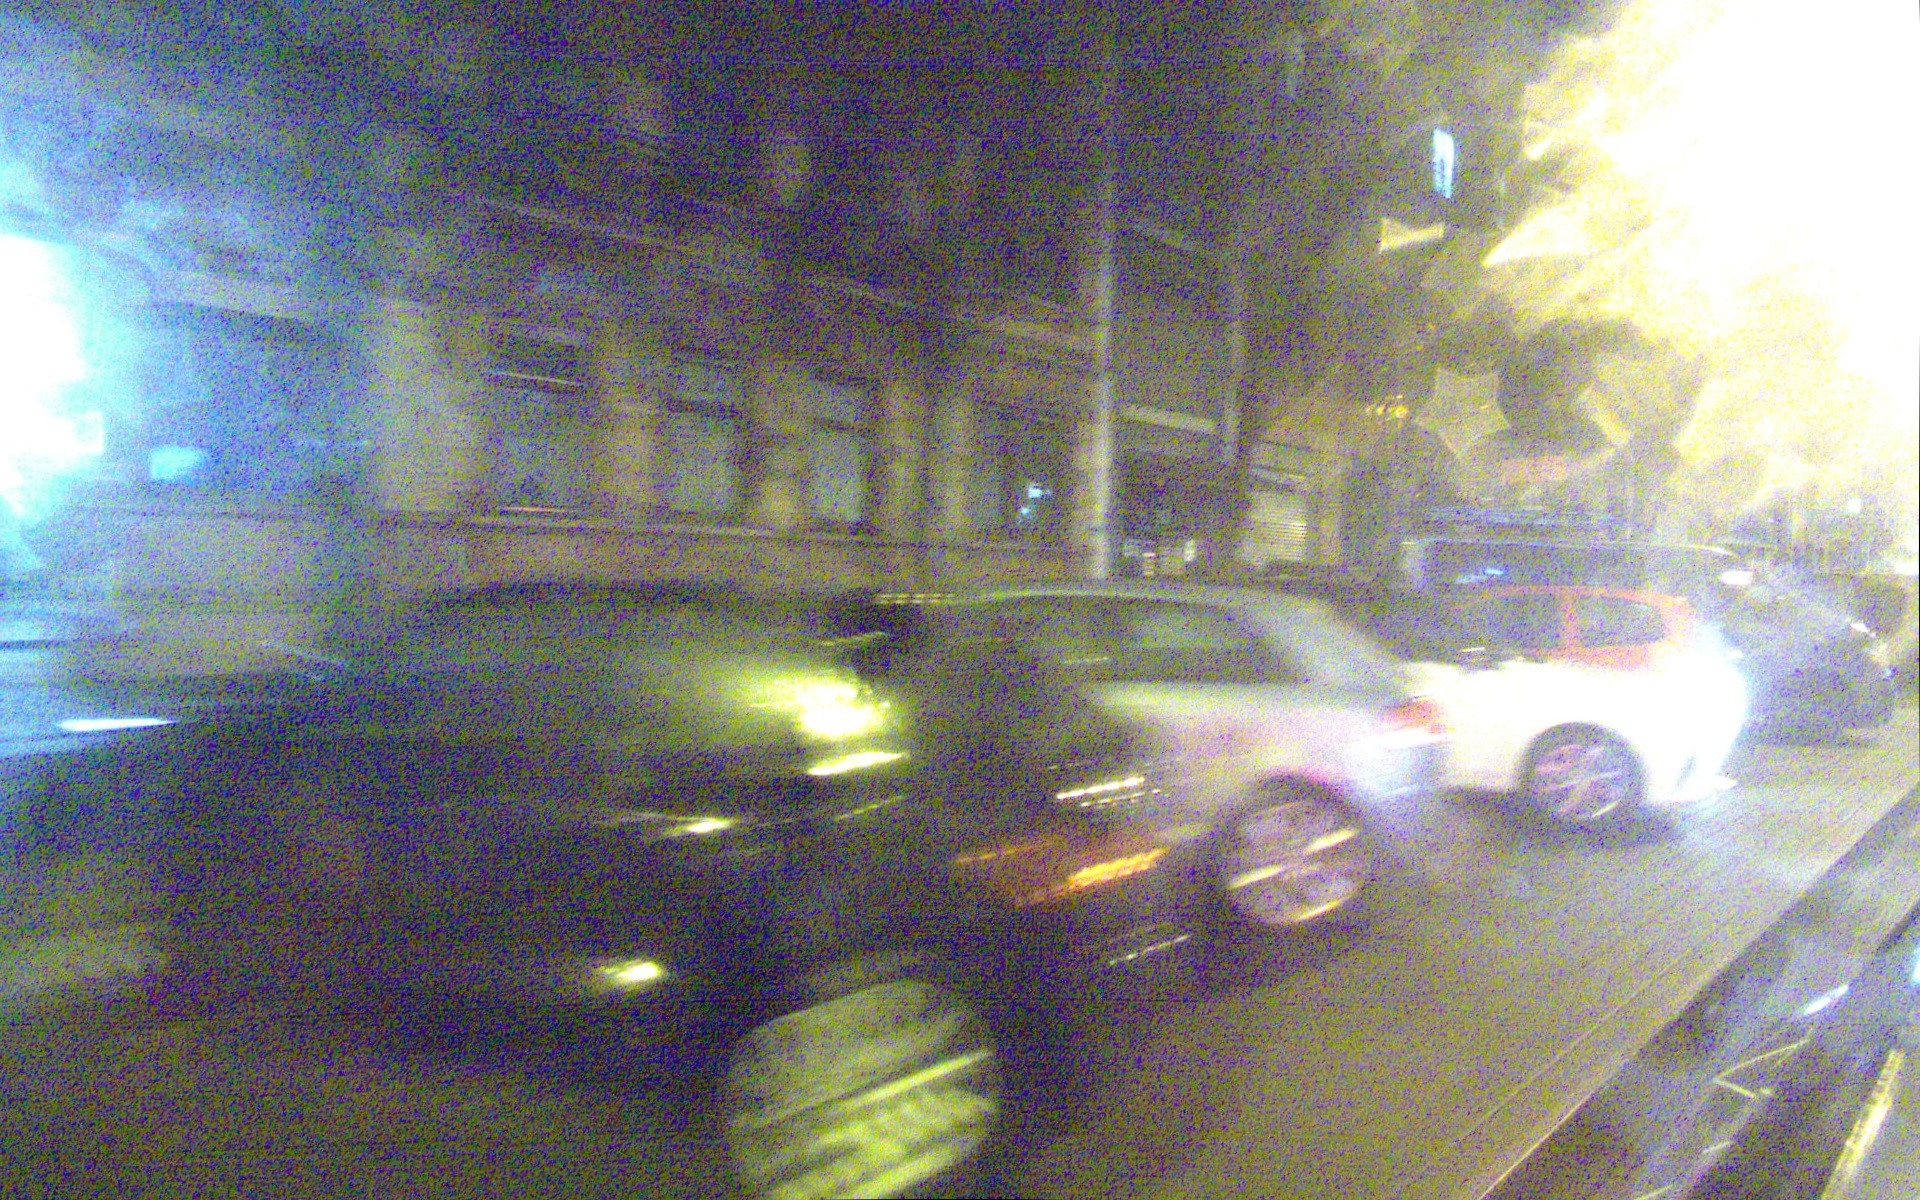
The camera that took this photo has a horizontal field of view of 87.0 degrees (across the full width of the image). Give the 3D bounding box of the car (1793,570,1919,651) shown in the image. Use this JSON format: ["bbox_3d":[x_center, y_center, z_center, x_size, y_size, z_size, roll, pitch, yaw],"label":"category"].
[{"bbox_3d":[22.288,0.264,23.546,4.060,1.786,1.845,2,1,23],"label":"car"}]

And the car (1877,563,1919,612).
[{"bbox_3d":[48.771,-0.571,49.751,4.872,2.369,2.221,2,2,16],"label":"car"}]

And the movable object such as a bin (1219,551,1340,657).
[{"bbox_3d":[4.650,0.035,14.778,0.981,1.388,1.259,0,6,-40],"label":"movable object such as a bin"}]

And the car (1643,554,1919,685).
[{"bbox_3d":[14.012,0.273,16.614,4.186,1.881,1.710,3,3,15],"label":"car"}]

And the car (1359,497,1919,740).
[{"bbox_3d":[7.037,0.084,11.076,4.656,2.275,1.939,2,2,14],"label":"car"}]

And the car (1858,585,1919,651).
[{"bbox_3d":[24.880,0.448,25.143,3.533,1.631,1.696,0,0,29],"label":"car"}]

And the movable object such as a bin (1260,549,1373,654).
[{"bbox_3d":[5.492,0.001,15.606,0.981,1.468,1.212,0,6,-40],"label":"movable object such as a bin"}]

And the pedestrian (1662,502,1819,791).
[{"bbox_3d":[5.830,0.315,7.606,0.635,2.038,0.673,3,2,19],"label":"pedestrian"}]

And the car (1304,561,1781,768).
[{"bbox_3d":[4.971,0.463,9.127,3.350,1.561,1.571,2,2,14],"label":"car"}]

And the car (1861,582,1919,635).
[{"bbox_3d":[29.974,0.314,30.592,3.674,1.541,1.643,3,3,25],"label":"car"}]

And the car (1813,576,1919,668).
[{"bbox_3d":[19.369,0.411,19.755,3.754,1.750,1.731,0,0,19],"label":"car"}]

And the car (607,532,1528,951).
[{"bbox_3d":[0.457,0.488,5.340,3.939,1.571,1.993,2,2,13],"label":"car"}]

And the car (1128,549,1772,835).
[{"bbox_3d":[3.126,0.465,7.088,3.608,1.561,1.550,2,2,21],"label":"car"}]

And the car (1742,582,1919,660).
[{"bbox_3d":[19.788,0.421,22.014,4.012,1.631,1.832,0,0,21],"label":"car"}]

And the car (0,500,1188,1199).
[{"bbox_3d":[-1.303,0.513,3.390,3.943,1.571,1.797,2,2,15],"label":"car"}]

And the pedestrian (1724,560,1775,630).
[{"bbox_3d":[22.069,-0.160,28.278,0.932,1.856,0.840,-2,7,-44],"label":"pedestrian"}]
